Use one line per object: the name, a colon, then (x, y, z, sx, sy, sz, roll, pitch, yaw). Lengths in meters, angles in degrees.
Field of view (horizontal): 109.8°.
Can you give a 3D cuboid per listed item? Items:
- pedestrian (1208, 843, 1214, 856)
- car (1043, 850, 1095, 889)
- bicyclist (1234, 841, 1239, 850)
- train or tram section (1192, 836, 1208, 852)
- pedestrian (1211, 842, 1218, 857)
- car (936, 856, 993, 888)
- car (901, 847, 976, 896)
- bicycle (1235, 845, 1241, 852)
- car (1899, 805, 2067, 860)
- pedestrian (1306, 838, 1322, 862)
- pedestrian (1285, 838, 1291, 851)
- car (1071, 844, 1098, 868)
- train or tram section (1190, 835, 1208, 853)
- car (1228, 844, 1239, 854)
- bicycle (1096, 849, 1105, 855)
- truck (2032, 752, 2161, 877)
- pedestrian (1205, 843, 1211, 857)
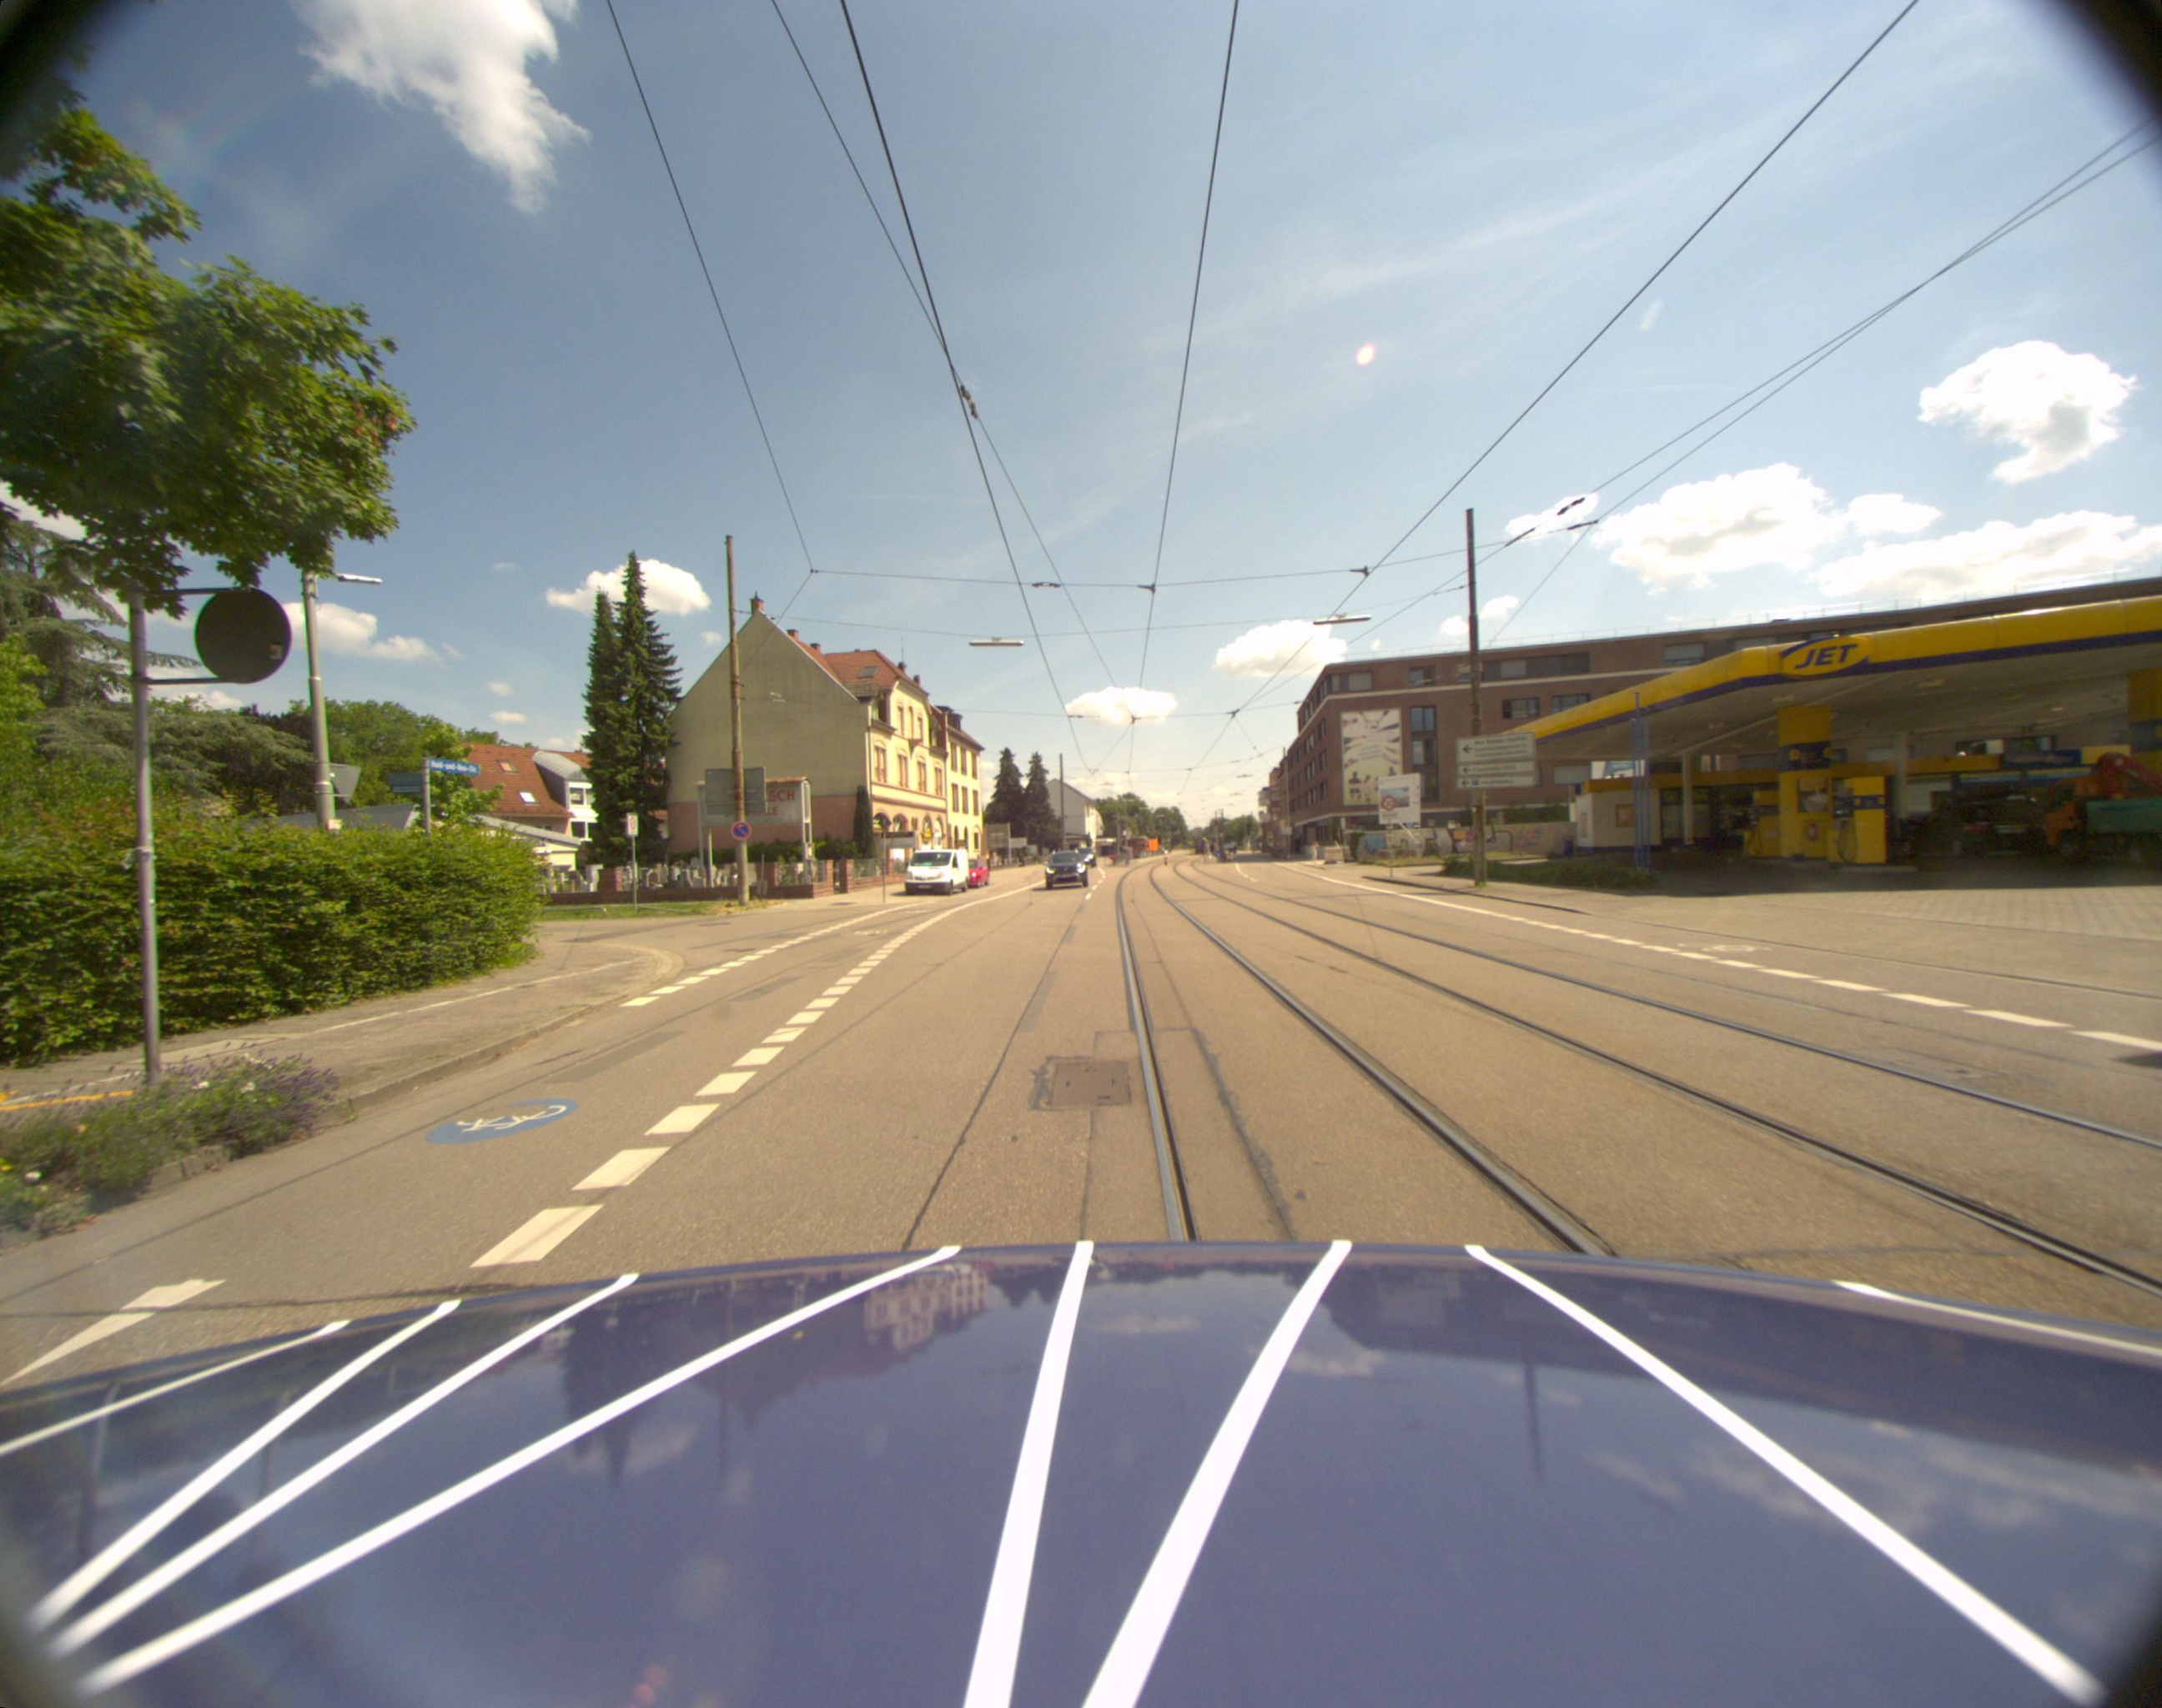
pedestrian: (17.335, -0.593, 101.151, 0.761, 1.685, 0.809, -1, 1, 9)
car: (-0.456, 0.653, 33.570, 1.845, 1.564, 4.489, -2, -1, 4)
bicyclist: (28.122, -1.571, 137.136, 0.760, 1.495, 1.066, -2, 1, 4)
train or tram section: (28.643, -2.435, 181.926, 3.256, 3.547, 20.513, -2, 1, 10)
pedestrian: (14.913, -0.507, 85.042, 0.686, 1.750, 1.034, -1, 1, 9)
car: (-5.896, 0.879, 38.973, 1.998, 1.433, 4.017, -3, 0, 3)
car: (-6.106, 0.680, 33.229, 1.998, 1.980, 5.515, 0, 0, 2)
bicycle: (28.341, -0.958, 137.124, 0.818, 1.215, 2.390, -1, 1, 6)
car: (27.375, -0.640, 23.286, 1.995, 1.470, 4.350, -2, 1, 31)
pedestrian: (16.498, -0.288, 53.830, 0.761, 1.587, 1.000, -6, 1, 5)
pedestrian: (26.977, -1.229, 98.992, 0.686, 1.587, 0.761, -1, 1, 9)
car: (0.356, 0.157, 66.766, 1.998, 2.002, 4.001, -2, 1, 5)
train or tram section: (25.530, -2.147, 163.744, 3.241, 3.547, 16.359, -2, 1, 10)
car: (33.257, -1.152, 165.935, 2.020, 2.002, 4.002, -4, 0, 10)
bicycle: (3.351, -0.299, 129.957, 1.534, 1.080, 0.430, 0, 1, 16)
truck: (23.573, -0.898, 16.545, 1.995, 2.484, 5.212, -2, 1, 33)
pedestrian: (16.901, -0.561, 101.420, 0.761, 1.789, 0.952, -1, 1, 9)
